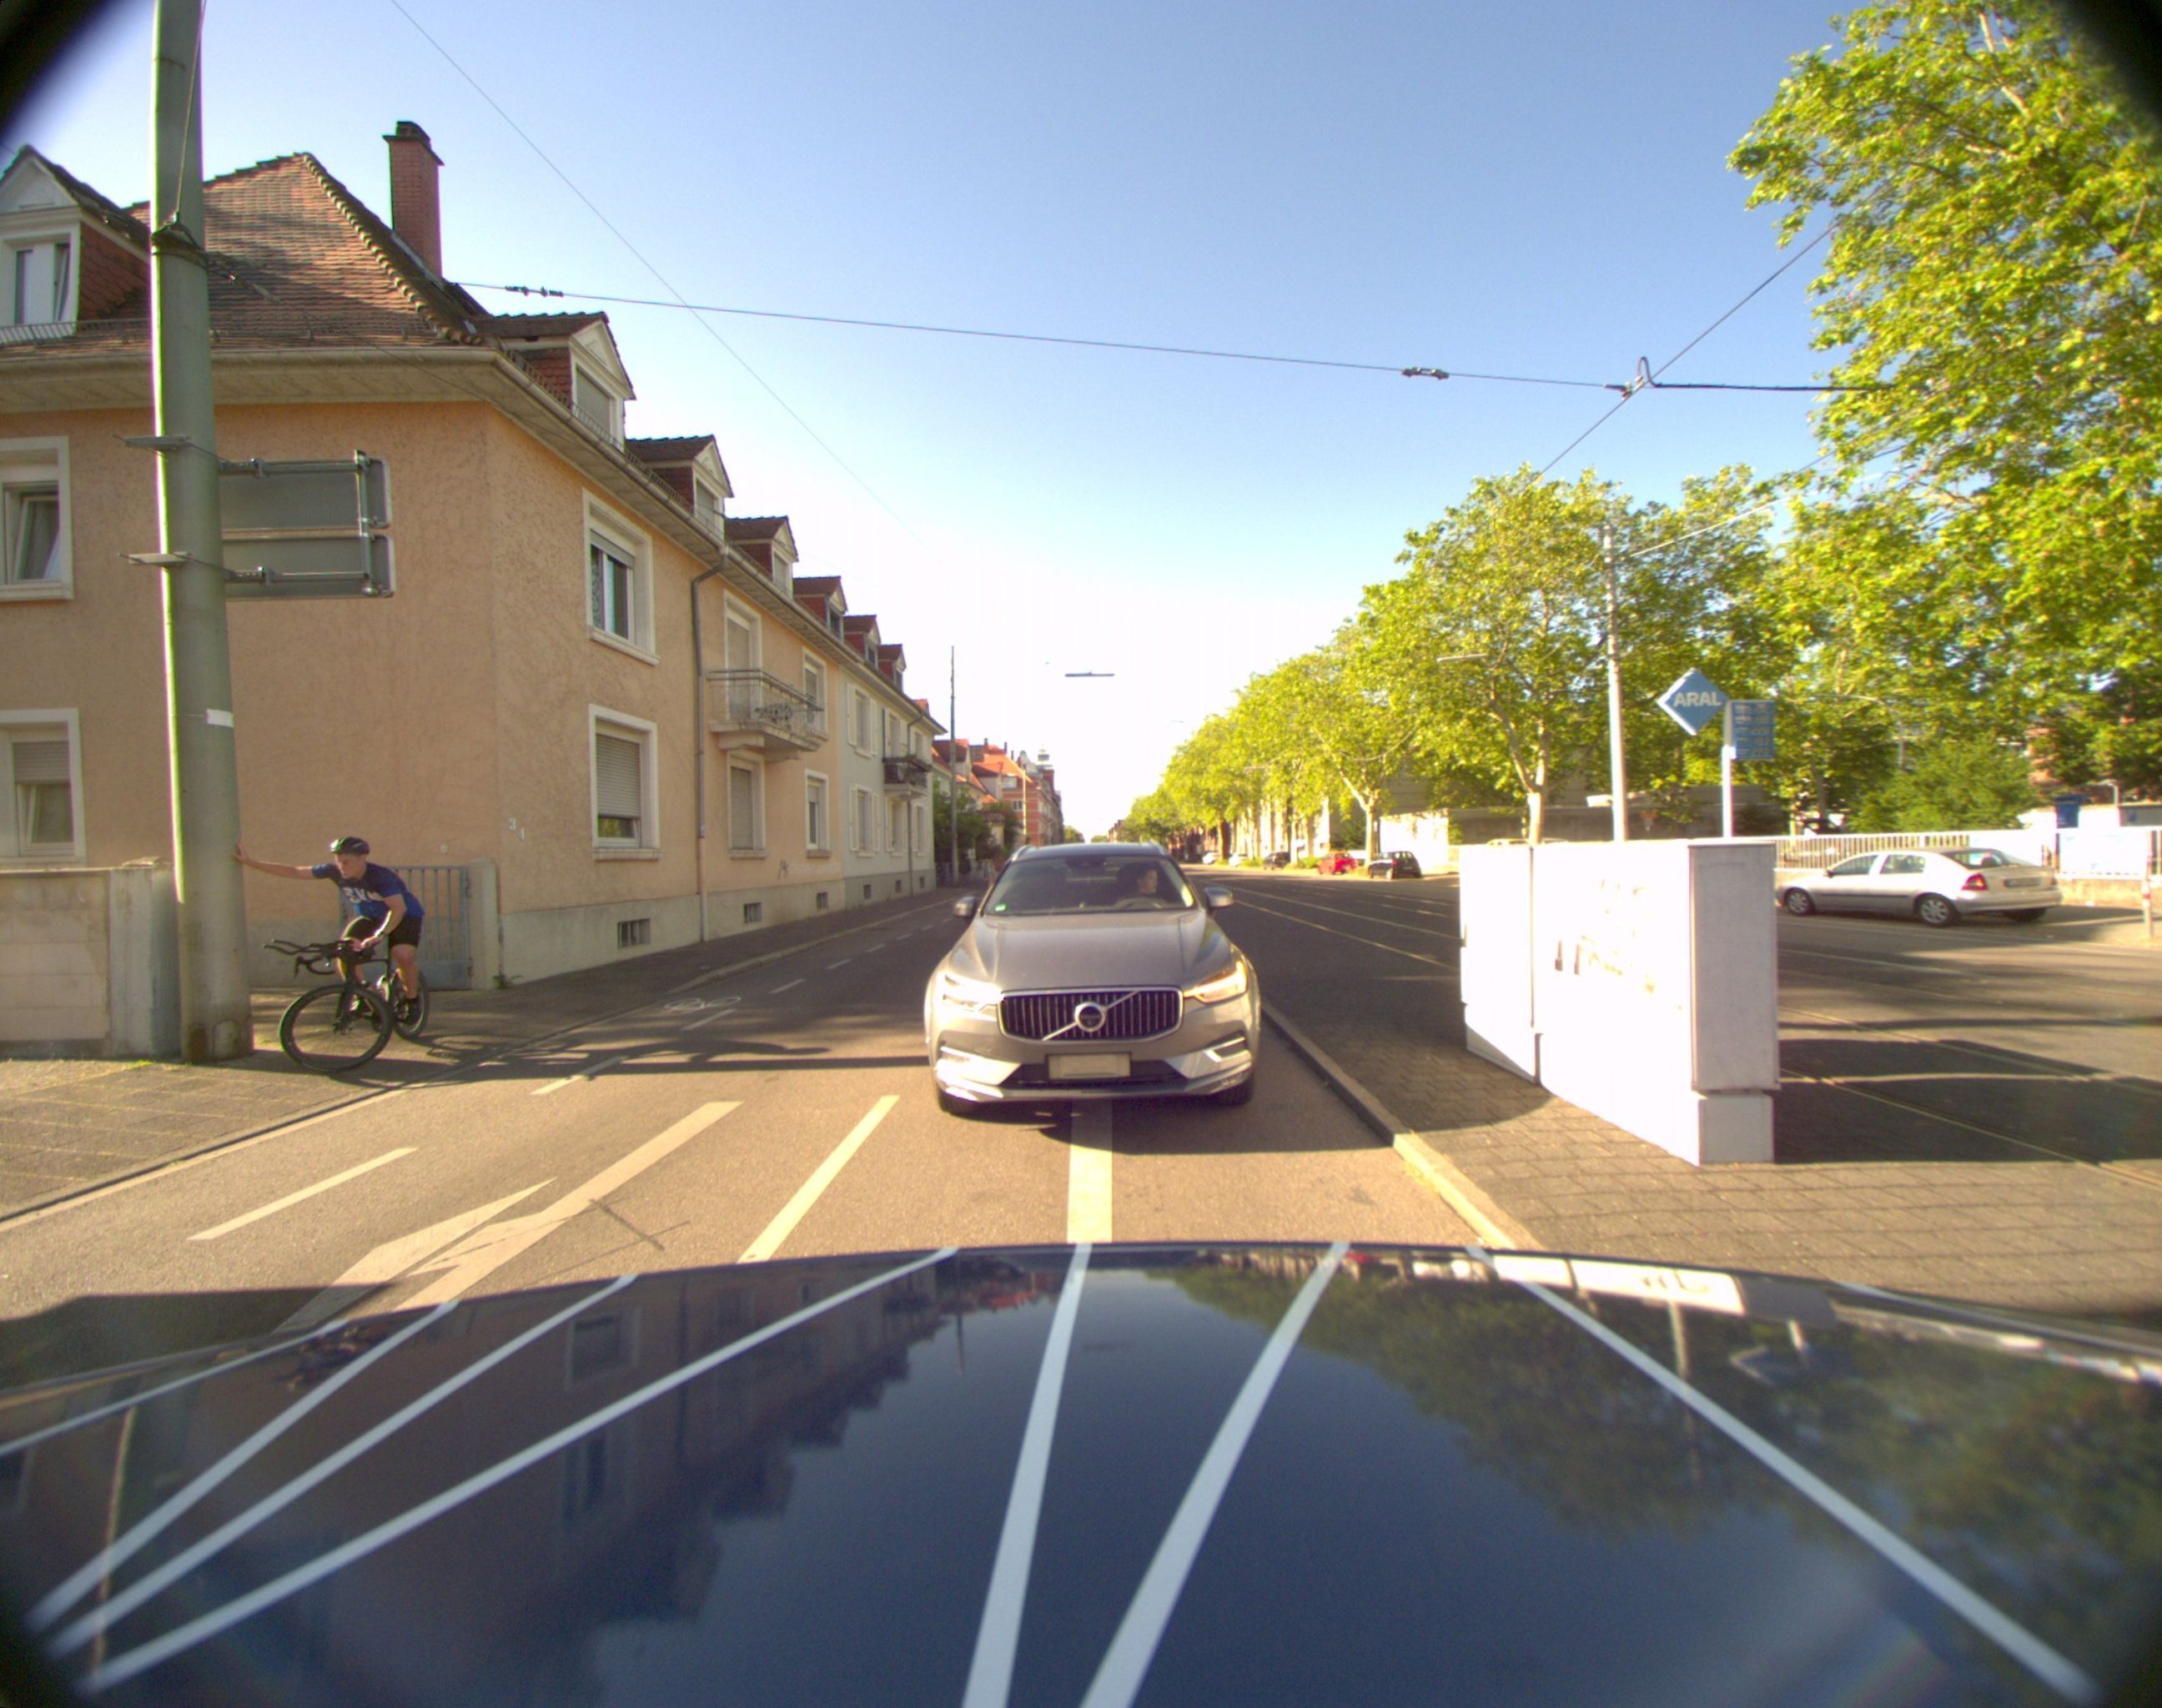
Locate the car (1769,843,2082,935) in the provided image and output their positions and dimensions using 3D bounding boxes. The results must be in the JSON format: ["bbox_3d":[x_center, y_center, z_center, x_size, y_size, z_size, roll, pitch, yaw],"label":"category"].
[{"bbox_3d":[16.248,0.594,14.991,1.795,1.455,3.966,-4,0,2],"label":"car"}]

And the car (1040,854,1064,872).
[{"bbox_3d":[-2.560,0.762,66.829,1.875,1.477,4.000,-1,0,1],"label":"car"}]

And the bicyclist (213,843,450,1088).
[{"bbox_3d":[-6.145,0.860,6.290,1.076,1.854,0.846,2,1,1],"label":"bicyclist"}]

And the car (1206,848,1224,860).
[{"bbox_3d":[17.733,-0.018,100.671,1.802,1.504,4.000,-1,0,1],"label":"car"}]

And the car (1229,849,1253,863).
[{"bbox_3d":[17.547,0.214,83.427,1.802,1.489,4.000,-1,0,1],"label":"car"}]

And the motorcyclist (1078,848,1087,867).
[{"bbox_3d":[0.185,0.348,75.920,0.827,1.832,1.159,-2,1,1],"label":"motorcyclist"}]

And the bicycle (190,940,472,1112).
[{"bbox_3d":[-5.940,1.300,6.175,0.572,0.986,1.698,2,0,1],"label":"bicycle"}]

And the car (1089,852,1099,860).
[{"bbox_3d":[2.805,0.468,160.956,1.998,1.543,4.000,-1,0,1],"label":"car"}]

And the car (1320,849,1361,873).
[{"bbox_3d":[16.944,0.430,49.750,1.641,1.499,3.046,-1,0,1],"label":"car"}]

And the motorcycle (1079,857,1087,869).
[{"bbox_3d":[0.222,0.884,75.785,0.792,1.095,2.519,0,0,1],"label":"motorcycle"}]

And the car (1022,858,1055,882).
[{"bbox_3d":[-2.682,0.987,48.303,1.785,1.346,4.000,-1,0,1],"label":"car"}]

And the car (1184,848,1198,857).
[{"bbox_3d":[18.195,-0.229,125.629,1.802,1.504,4.000,-1,0,1],"label":"car"}]

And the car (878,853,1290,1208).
[{"bbox_3d":[0.044,0.849,5.801,1.940,1.650,4.321,-1,0,1],"label":"car"}]

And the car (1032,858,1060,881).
[{"bbox_3d":[-2.465,1.080,54.439,1.785,1.468,4.000,-1,0,1],"label":"car"}]

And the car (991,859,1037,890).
[{"bbox_3d":[-3.209,0.961,37.025,1.647,1.357,3.868,-1,0,4],"label":"car"}]

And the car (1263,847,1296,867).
[{"bbox_3d":[17.196,0.280,66.041,1.802,1.652,4.000,-1,0,1],"label":"car"}]

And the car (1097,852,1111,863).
[{"bbox_3d":[3.313,0.479,110.403,1.998,1.543,4.000,-1,0,1],"label":"car"}]

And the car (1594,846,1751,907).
[{"bbox_3d":[16.433,0.572,21.340,1.692,1.455,3.519,-4,0,2],"label":"car"}]

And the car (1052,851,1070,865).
[{"bbox_3d":[-2.203,0.444,85.491,1.875,1.477,4.000,-1,0,1],"label":"car"}]

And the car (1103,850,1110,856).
[{"bbox_3d":[8.171,-0.337,245.424,1.998,1.652,4.000,-1,0,1],"label":"car"}]

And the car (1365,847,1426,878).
[{"bbox_3d":[16.884,0.418,40.980,1.826,1.521,3.653,-2,0,1],"label":"car"}]

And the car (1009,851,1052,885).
[{"bbox_3d":[-2.787,0.712,42.885,1.751,1.767,5.351,-1,0,3],"label":"car"}]

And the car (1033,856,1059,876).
[{"bbox_3d":[-2.750,0.940,60.675,1.785,1.468,4.000,-1,0,1],"label":"car"}]

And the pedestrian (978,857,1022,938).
[{"bbox_3d":[-1.768,0.912,16.488,0.695,1.652,1.097,-3,1,-17],"label":"pedestrian"}]
